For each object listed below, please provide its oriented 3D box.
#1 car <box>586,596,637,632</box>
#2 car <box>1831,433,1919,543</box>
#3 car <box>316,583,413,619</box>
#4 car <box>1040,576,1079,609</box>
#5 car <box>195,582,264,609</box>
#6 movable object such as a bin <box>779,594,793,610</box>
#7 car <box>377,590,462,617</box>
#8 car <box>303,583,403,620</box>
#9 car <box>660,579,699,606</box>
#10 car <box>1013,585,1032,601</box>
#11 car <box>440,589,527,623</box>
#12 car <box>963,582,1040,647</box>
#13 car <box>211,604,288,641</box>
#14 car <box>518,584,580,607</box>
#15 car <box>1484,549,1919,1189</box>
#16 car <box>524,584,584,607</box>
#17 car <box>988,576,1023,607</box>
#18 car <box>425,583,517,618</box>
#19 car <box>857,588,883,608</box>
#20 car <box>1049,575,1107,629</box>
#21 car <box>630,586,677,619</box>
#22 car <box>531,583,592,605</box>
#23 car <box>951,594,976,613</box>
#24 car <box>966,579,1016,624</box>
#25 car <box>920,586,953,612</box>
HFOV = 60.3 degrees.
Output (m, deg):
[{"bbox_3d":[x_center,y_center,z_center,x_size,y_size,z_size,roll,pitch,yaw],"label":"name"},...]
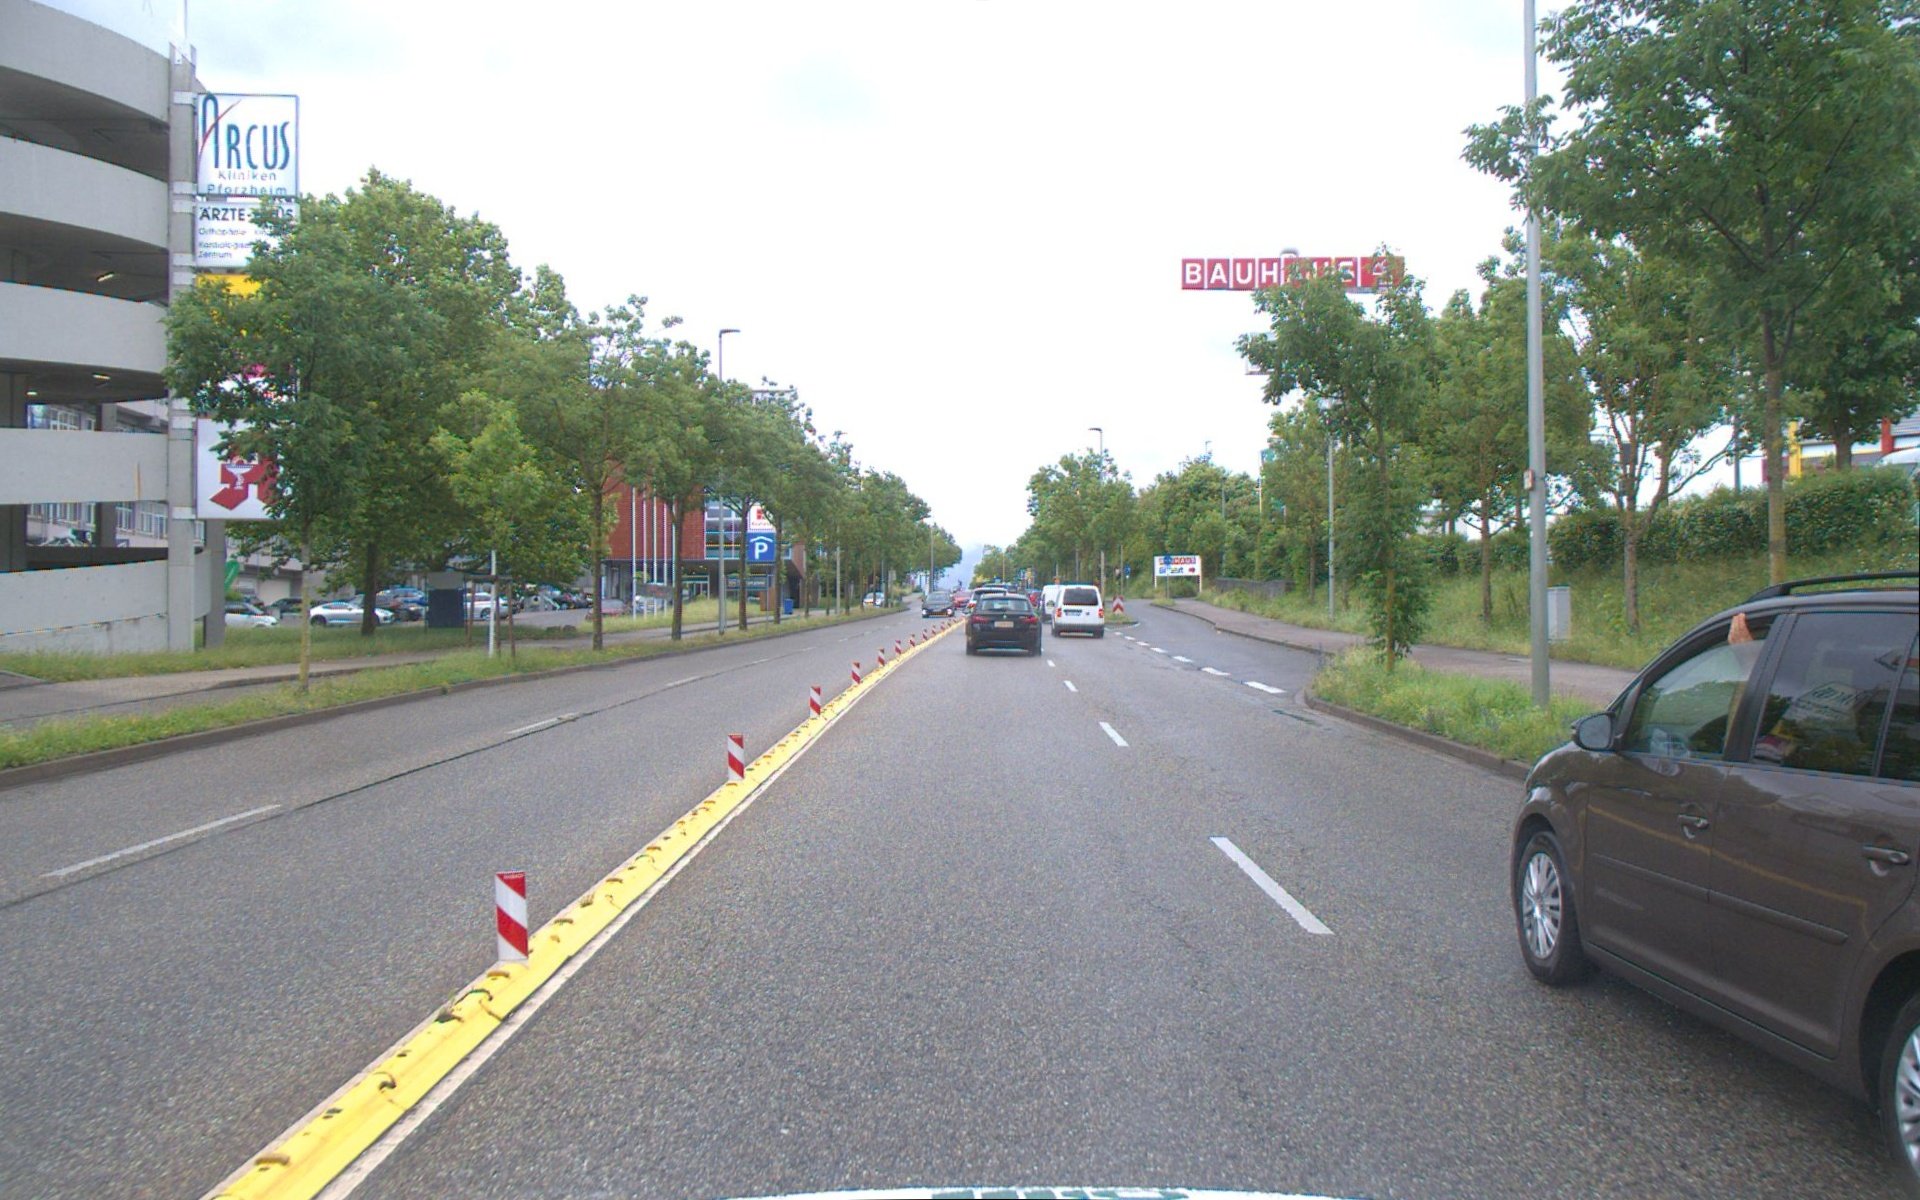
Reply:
[{"bbox_3d":[-18.021,0.686,85.635,1.894,1.636,4.709,1,2,-3],"label":"car"},{"bbox_3d":[22.162,-2.540,35.839,5.500,2.179,2.119,-4,0,-6],"label":"car"},{"bbox_3d":[-31.637,0.037,87.948,4.515,1.776,2.129,0,2,-10],"label":"car"},{"bbox_3d":[4.829,-0.332,80.849,1.757,1.537,4.001,1,0,2],"label":"car"},{"bbox_3d":[-49.819,-0.291,112.836,3.909,1.762,1.798,1,2,-5],"label":"car"},{"bbox_3d":[-12.586,0.124,119.650,0.802,1.097,1.086,5,1,2],"label":"movable object such as a bin"},{"bbox_3d":[-32.301,0.194,98.986,4.522,1.536,2.022,1,2,-7],"label":"car"},{"bbox_3d":[-31.139,0.077,84.957,4.515,1.776,1.963,0,2,-10],"label":"car"},{"bbox_3d":[-20.474,-0.560,120.701,2.094,1.804,4.608,1,2,-1],"label":"car"},{"bbox_3d":[6.414,-0.696,170.940,1.757,1.537,4.000,1,0,0],"label":"car"},{"bbox_3d":[-26.792,0.324,93.091,4.413,1.776,1.898,1,2,-7],"label":"car"},{"bbox_3d":[1.015,0.311,40.838,1.789,1.494,4.001,1,1,1],"label":"car"},{"bbox_3d":[-30.280,0.939,70.565,2.646,1.389,1.607,-2,2,-9],"label":"car"},{"bbox_3d":[-29.260,-0.294,117.835,4.030,1.536,1.817,1,2,-7],"label":"car"},{"bbox_3d":[3.237,0.704,5.302,1.651,1.608,4.217,2,0,-1],"label":"car"},{"bbox_3d":[-29.443,-0.318,120.066,4.030,1.536,1.817,1,2,-7],"label":"car"},{"bbox_3d":[2.386,-0.440,87.175,1.757,1.537,4.000,1,0,1],"label":"car"},{"bbox_3d":[-26.705,0.022,90.490,4.511,1.776,1.965,1,2,-7],"label":"car"},{"bbox_3d":[-7.624,-0.205,140.656,1.828,1.580,4.576,-3,0,1],"label":"car"},{"bbox_3d":[4.132,0.049,58.472,1.789,1.789,4.001,1,1,1],"label":"car"},{"bbox_3d":[-18.509,0.118,100.098,1.998,1.792,4.945,1,2,-2],"label":"car"},{"bbox_3d":[-29.399,-0.433,122.121,4.110,1.536,1.817,1,2,-7],"label":"car"},{"bbox_3d":[0.279,0.264,128.628,1.725,1.450,4.182,-1,0,3],"label":"car"},{"bbox_3d":[1.118,0.056,60.367,1.757,1.537,4.000,1,0,1],"label":"car"},{"bbox_3d":[-1.384,-0.075,98.884,1.789,1.491,4.617,-1,1,1],"label":"car"}]
